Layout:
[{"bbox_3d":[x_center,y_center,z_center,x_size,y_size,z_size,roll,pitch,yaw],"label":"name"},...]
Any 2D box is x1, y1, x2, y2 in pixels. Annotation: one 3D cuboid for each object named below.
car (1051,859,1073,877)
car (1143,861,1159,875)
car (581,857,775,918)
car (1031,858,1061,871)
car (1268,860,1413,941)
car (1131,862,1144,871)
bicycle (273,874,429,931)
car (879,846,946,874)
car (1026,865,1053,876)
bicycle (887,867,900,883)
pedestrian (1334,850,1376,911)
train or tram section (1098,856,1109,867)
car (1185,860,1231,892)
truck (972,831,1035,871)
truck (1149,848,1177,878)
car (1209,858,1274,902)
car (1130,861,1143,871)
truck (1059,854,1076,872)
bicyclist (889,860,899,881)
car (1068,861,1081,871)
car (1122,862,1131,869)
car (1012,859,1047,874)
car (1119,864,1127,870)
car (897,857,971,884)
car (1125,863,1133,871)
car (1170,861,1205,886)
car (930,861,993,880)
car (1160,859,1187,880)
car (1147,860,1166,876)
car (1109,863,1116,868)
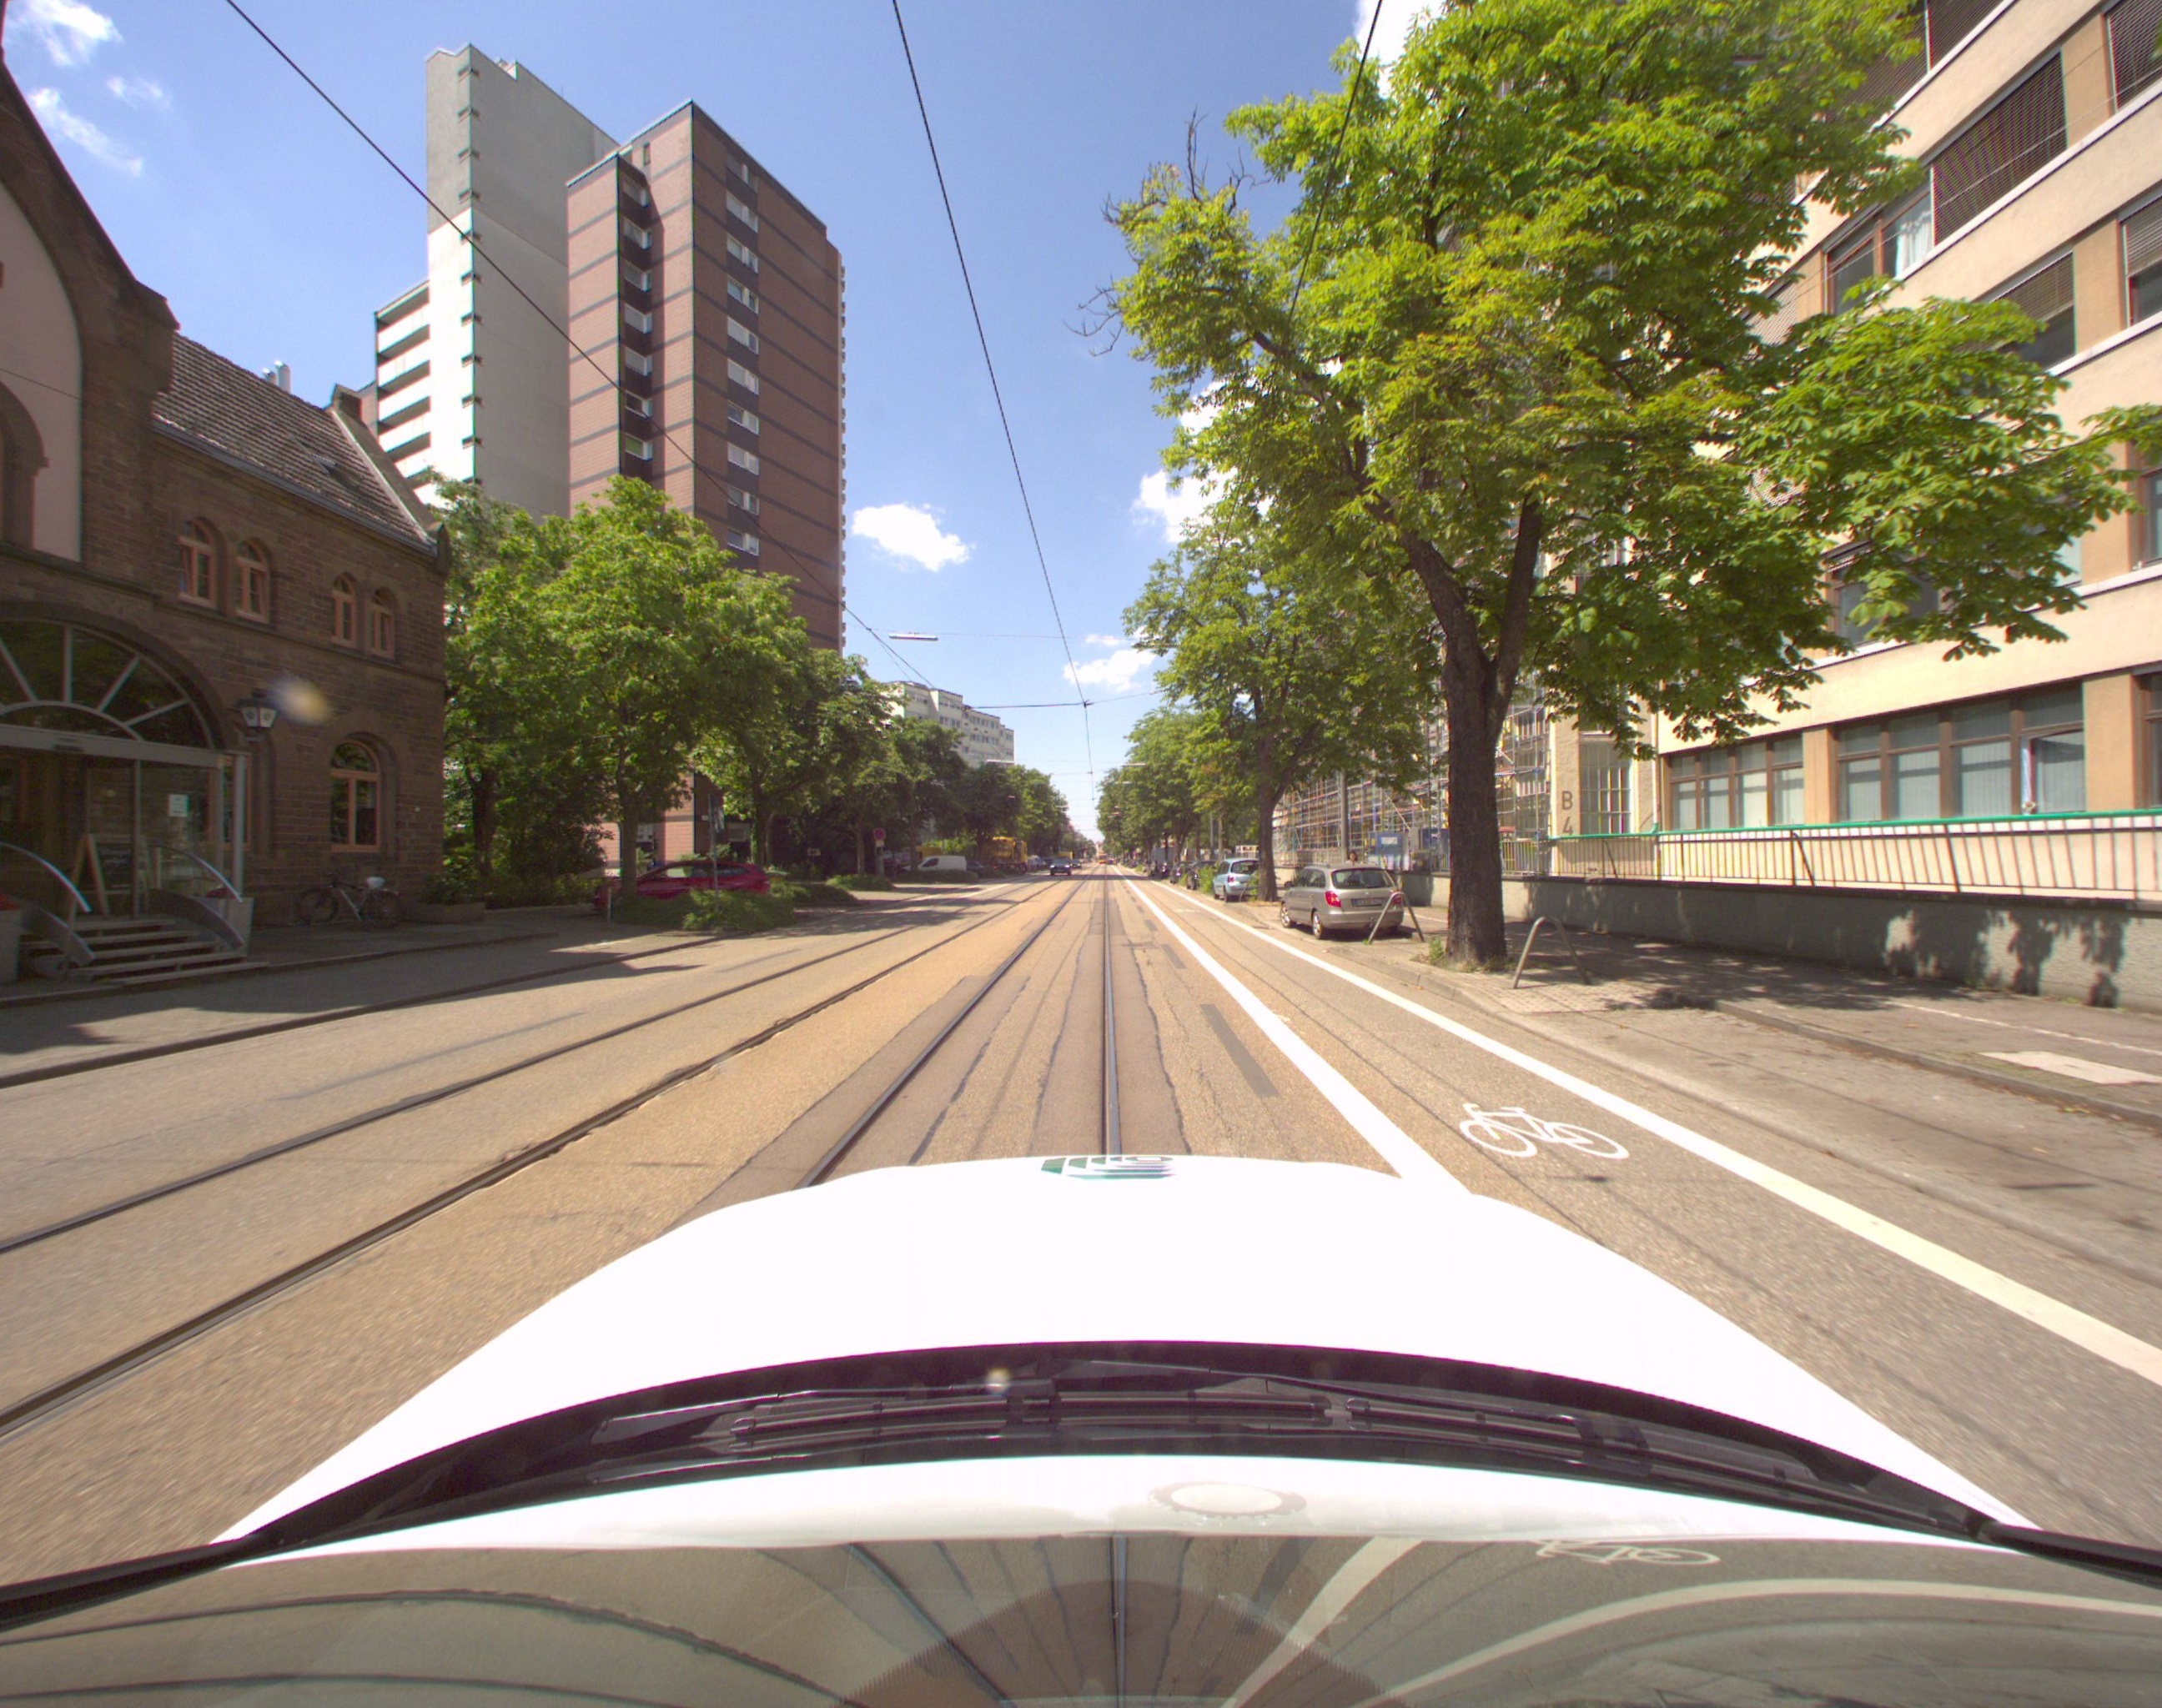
[{"bbox_3d":[-1.783,1.289,76.852,1.824,1.681,4.186,-1,0,2],"label":"car"},{"bbox_3d":[7.828,1.534,91.453,1.637,1.534,3.788,-1,0,3],"label":"car"},{"bbox_3d":[-11.378,0.891,23.267,4.790,1.566,1.984,0,-1,-27],"label":"car"},{"bbox_3d":[-6.030,1.769,141.114,4.785,2.062,2.003,-2,-1,-37],"label":"car"},{"bbox_3d":[5.474,0.906,17.775,1.666,1.499,4.363,-1,0,-1],"label":"car"},{"bbox_3d":[9.559,2.085,138.052,1.869,1.455,4.530,-1,-1,2],"label":"car"},{"bbox_3d":[-13.275,0.890,14.877,1.999,0.891,0.594,4,-1,-16],"label":"bicycle"},{"bbox_3d":[-15.948,0.634,77.373,2.157,2.566,6.765,-1,-2,32],"label":"car"},{"bbox_3d":[-6.536,2.621,128.349,1.740,1.433,4.024,-5,-2,44],"label":"car"},{"bbox_3d":[-13.374,1.489,58.199,0.516,1.047,1.876,1,0,0],"label":"bicycle"},{"bbox_3d":[7.417,0.697,22.084,0.797,1.589,0.919,-2,-1,0],"label":"pedestrian"},{"bbox_3d":[7.250,2.453,260.815,3.023,3.438,11.977,-1,-1,3],"label":"train or tram section"},{"bbox_3d":[6.177,1.049,40.004,1.665,1.438,4.042,-1,0,1],"label":"car"},{"bbox_3d":[-7.941,-0.214,85.326,2.695,3.842,11.008,0,-1,16],"label":"truck"},{"bbox_3d":[7.210,0.792,71.931,2.007,2.489,5.957,-1,0,1],"label":"truck"},{"bbox_3d":[5.982,0.924,30.698,1.665,1.517,4.202,-1,0,1],"label":"car"},{"bbox_3d":[8.463,1.797,125.250,1.634,1.485,3.870,-1,-1,-1],"label":"car"},{"bbox_3d":[-2.339,1.533,141.549,2.350,2.852,7.384,-2,-1,3],"label":"truck"},{"bbox_3d":[-13.368,1.170,58.172,0.479,1.481,0.780,1,-1,0],"label":"bicyclist"},{"bbox_3d":[-0.903,1.739,121.660,1.767,1.397,4.289,-1,0,2],"label":"car"},{"bbox_3d":[10.367,2.677,185.672,1.704,1.423,4.310,-1,-1,1],"label":"car"},{"bbox_3d":[-7.209,1.734,114.988,1.898,1.935,4.785,-3,-1,44],"label":"car"},{"bbox_3d":[10.513,3.178,203.679,1.704,1.423,4.310,-1,-1,1],"label":"car"},{"bbox_3d":[-10.052,1.116,55.773,4.563,1.791,1.882,1,-1,-31],"label":"car"},{"bbox_3d":[9.784,2.590,166.439,1.586,1.617,3.908,-1,-1,1],"label":"car"},{"bbox_3d":[6.552,1.180,50.434,1.817,1.471,4.489,-1,0,3],"label":"car"},{"bbox_3d":[-9.199,1.255,62.845,4.467,1.394,1.753,1,-1,-37],"label":"car"},{"bbox_3d":[6.924,1.158,61.450,1.816,1.471,4.405,-1,0,4],"label":"car"},{"bbox_3d":[7.350,1.348,79.550,1.638,1.534,3.948,-1,0,1],"label":"car"},{"bbox_3d":[8.146,3.000,211.821,1.774,1.346,3.417,-1,-1,2],"label":"car"}]
